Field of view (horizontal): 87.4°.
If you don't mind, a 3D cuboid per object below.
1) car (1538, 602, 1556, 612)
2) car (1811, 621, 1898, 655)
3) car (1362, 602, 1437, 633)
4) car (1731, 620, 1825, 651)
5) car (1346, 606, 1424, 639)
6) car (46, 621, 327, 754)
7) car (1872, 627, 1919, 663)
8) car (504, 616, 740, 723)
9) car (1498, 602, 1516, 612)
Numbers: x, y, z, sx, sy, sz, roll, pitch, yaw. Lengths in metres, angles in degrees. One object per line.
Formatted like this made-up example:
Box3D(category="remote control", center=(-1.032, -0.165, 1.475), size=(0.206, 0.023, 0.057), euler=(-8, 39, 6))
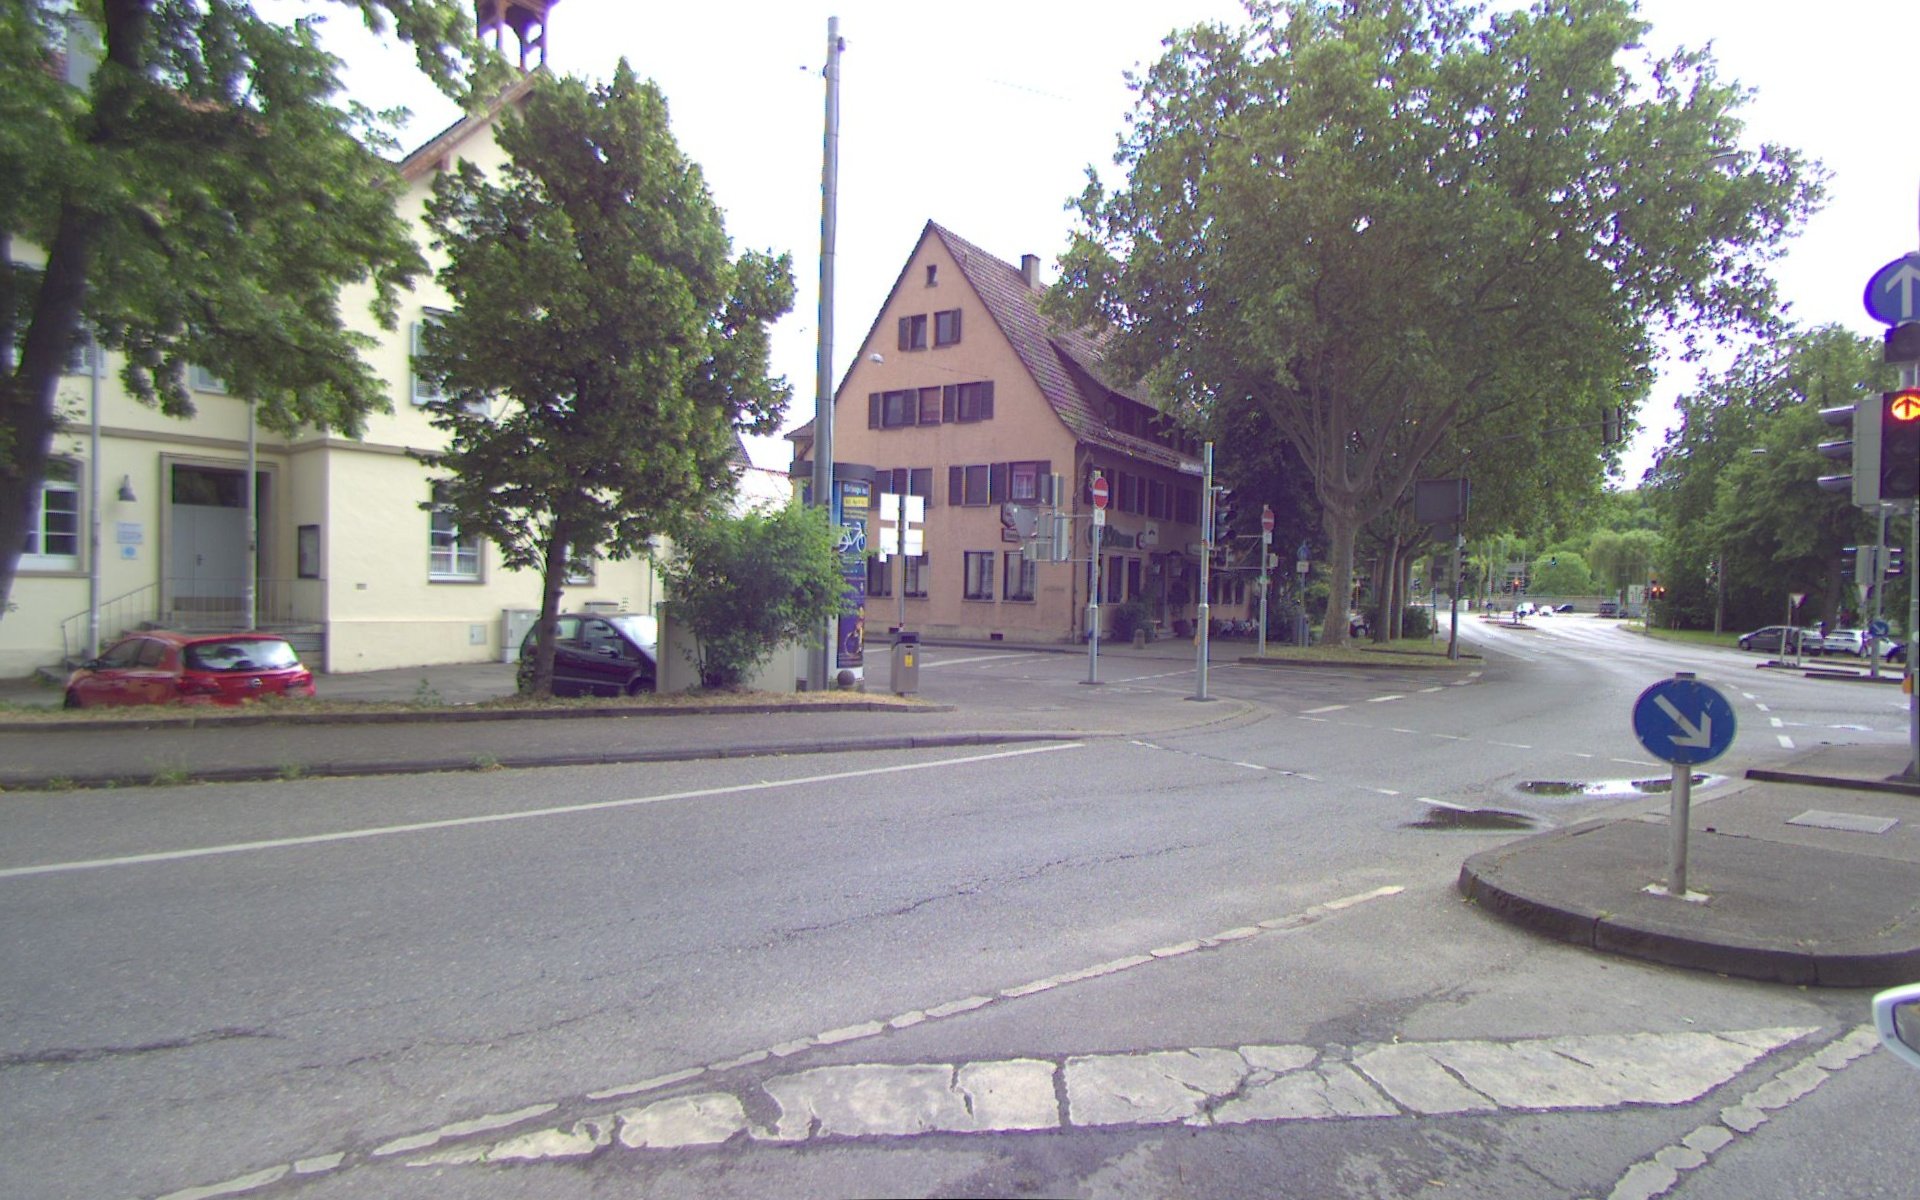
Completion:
Box3D(category="car", center=(90.766, 1.098, 155.420), size=(1.469, 1.436, 3.028), euler=(3, 0, 11))
Box3D(category="car", center=(47.461, 2.039, 53.328), size=(3.696, 1.662, 1.859), euler=(2, 0, -19))
Box3D(category="car", center=(25.728, 1.009, 58.785), size=(3.924, 1.706, 1.998), euler=(1, 0, 25))
Box3D(category="car", center=(43.818, 1.878, 53.909), size=(1.592, 1.485, 3.778), euler=(2, 0, -11))
Box3D(category="car", center=(23.996, 1.252, 56.709), size=(3.924, 1.706, 1.998), euler=(1, 0, 25))
Box3D(category="car", center=(-10.276, 1.051, 13.304), size=(3.653, 1.401, 1.659), euler=(2, 0, 30))
Box3D(category="car", center=(39.446, 1.861, 40.767), size=(1.746, 1.370, 3.326), euler=(2, 0, -2))
Box3D(category="car", center=(-5.531, 1.055, 16.442), size=(3.507, 1.459, 1.644), euler=(2, 0, 26))
Box3D(category="car", center=(85.258, 1.122, 156.554), size=(1.553, 1.506, 3.337), euler=(3, 0, 12))
